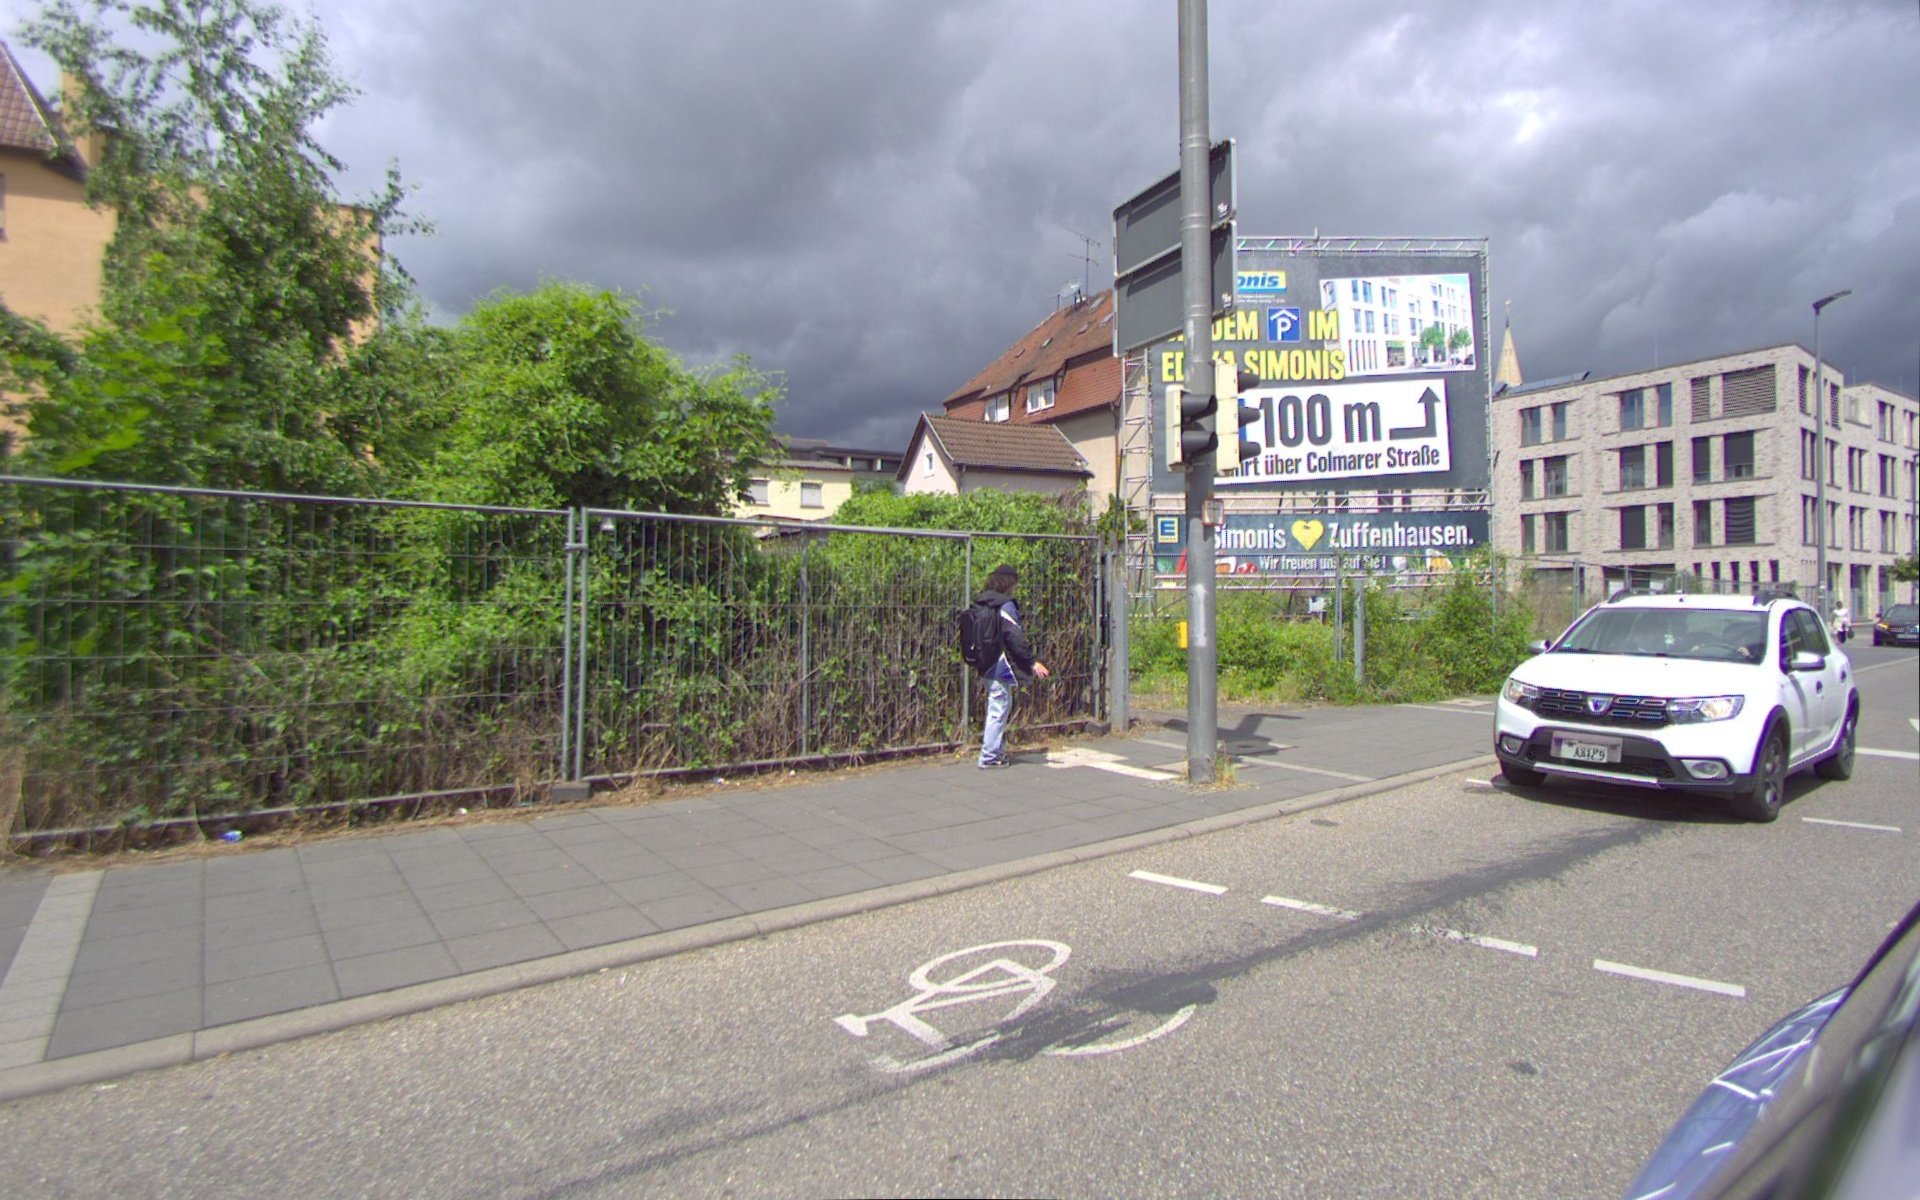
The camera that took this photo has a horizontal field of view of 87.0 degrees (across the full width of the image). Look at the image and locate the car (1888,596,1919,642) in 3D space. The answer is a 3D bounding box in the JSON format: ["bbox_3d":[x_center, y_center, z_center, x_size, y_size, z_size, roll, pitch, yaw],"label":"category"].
[{"bbox_3d":[32.722,0.612,34.026,3.726,1.441,1.678,-1,2,-39],"label":"car"}]

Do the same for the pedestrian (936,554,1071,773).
[{"bbox_3d":[0.340,0.480,8.181,0.762,1.663,0.768,2,0,-29],"label":"pedestrian"}]

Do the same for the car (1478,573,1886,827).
[{"bbox_3d":[5.891,0.596,8.118,3.725,1.569,1.719,0,1,-39],"label":"car"}]

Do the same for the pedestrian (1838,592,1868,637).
[{"bbox_3d":[30.911,0.504,35.024,0.769,1.531,0.673,1,0,-41],"label":"pedestrian"}]
